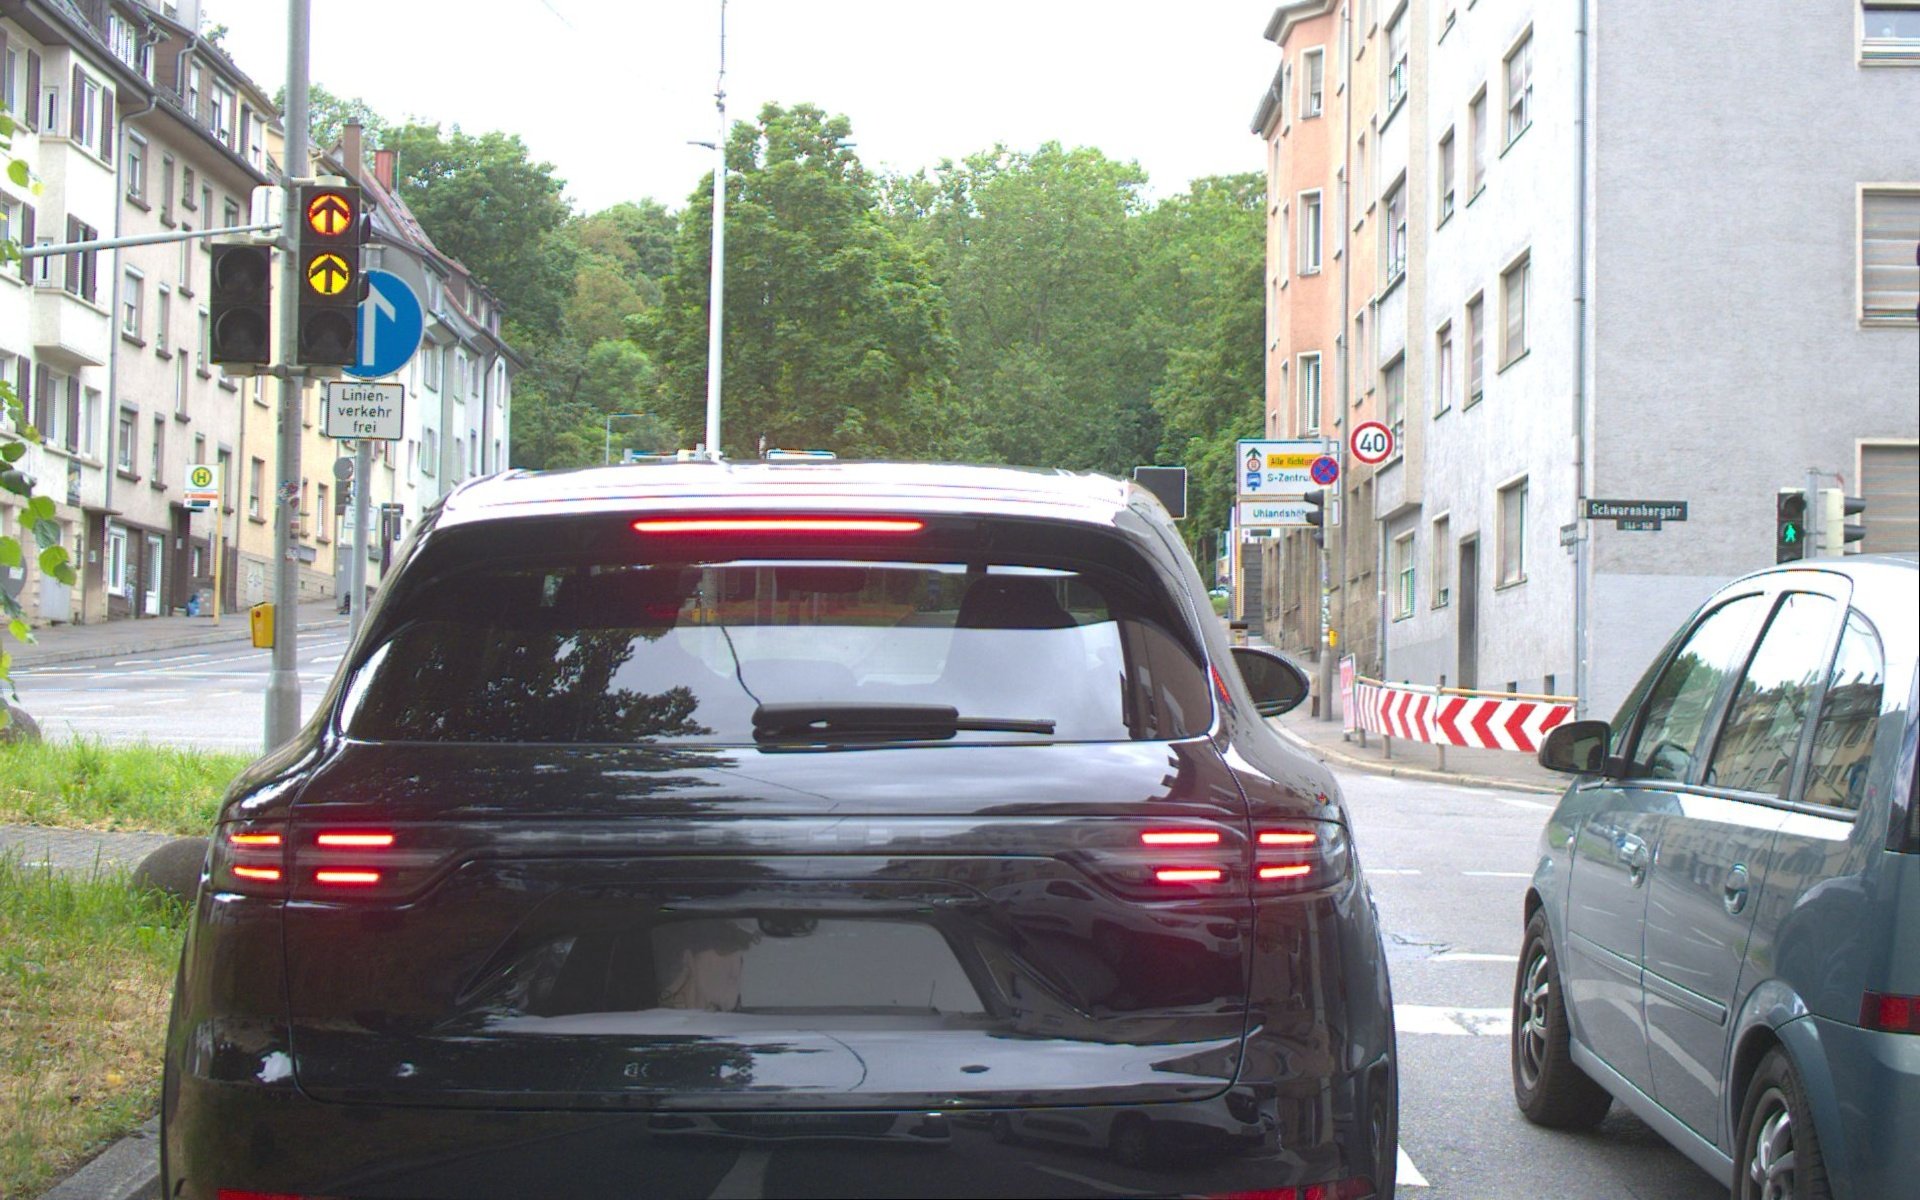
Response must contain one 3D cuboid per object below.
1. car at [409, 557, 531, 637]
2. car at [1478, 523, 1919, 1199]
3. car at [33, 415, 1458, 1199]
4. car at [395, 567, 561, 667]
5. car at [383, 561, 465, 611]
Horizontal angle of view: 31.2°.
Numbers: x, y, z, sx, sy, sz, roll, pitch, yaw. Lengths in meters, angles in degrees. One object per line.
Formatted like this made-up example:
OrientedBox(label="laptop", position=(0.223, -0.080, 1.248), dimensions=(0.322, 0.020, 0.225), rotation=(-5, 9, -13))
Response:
OrientedBox(label="car", position=(-9.425, -0.036, 66.342), dimensions=(1.619, 1.475, 3.823), rotation=(1, -1, 3))
OrientedBox(label="car", position=(2.348, 0.694, 7.879), dimensions=(1.628, 1.592, 3.669), rotation=(4, 1, -1))
OrientedBox(label="car", position=(-0.317, 0.563, 6.725), dimensions=(1.955, 1.669, 4.000), rotation=(0, 1, -1))
OrientedBox(label="car", position=(-7.036, 0.220, 50.584), dimensions=(1.862, 1.383, 4.094), rotation=(1, 1, 0))
OrientedBox(label="car", position=(-15.438, -0.424, 99.156), dimensions=(1.739, 1.382, 3.814), rotation=(1, 1, 0))
